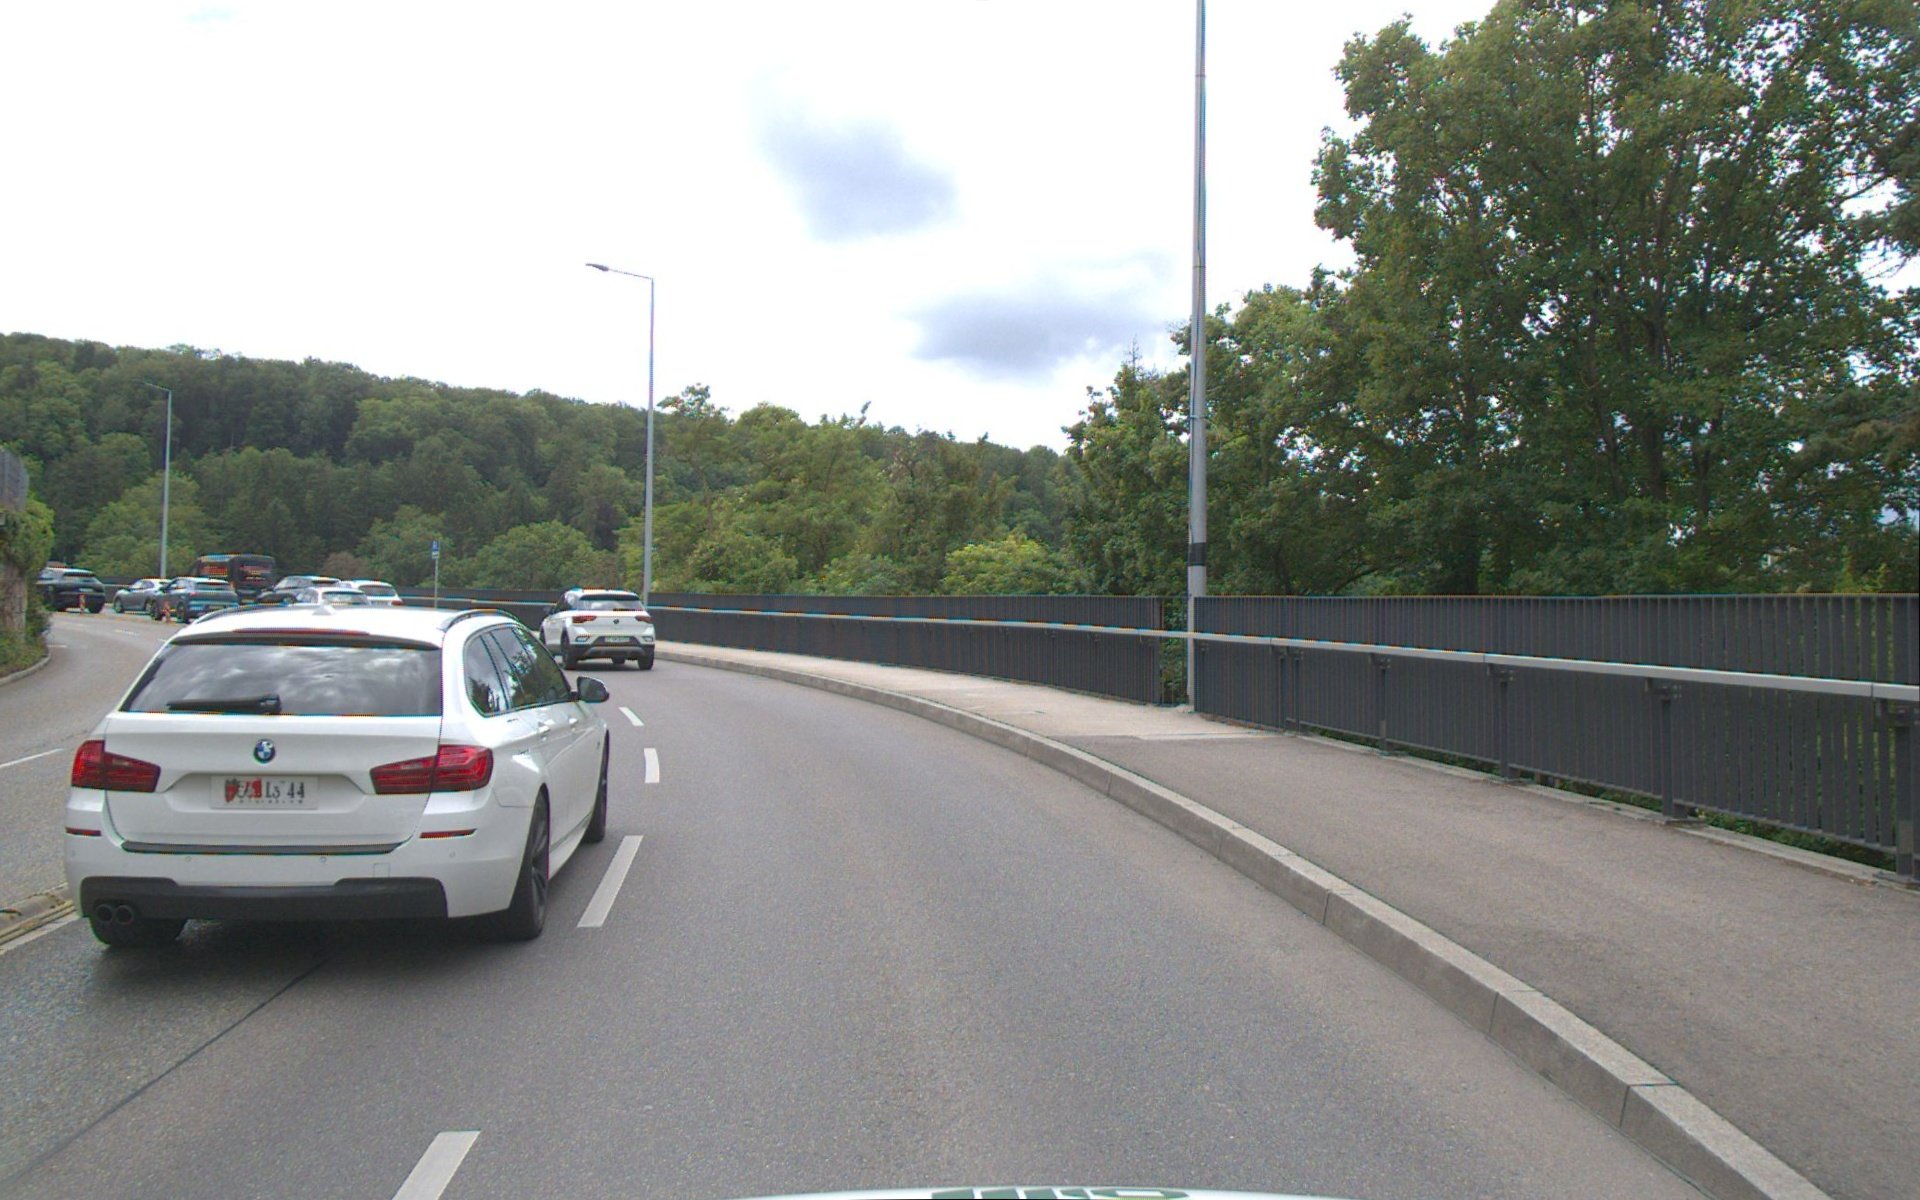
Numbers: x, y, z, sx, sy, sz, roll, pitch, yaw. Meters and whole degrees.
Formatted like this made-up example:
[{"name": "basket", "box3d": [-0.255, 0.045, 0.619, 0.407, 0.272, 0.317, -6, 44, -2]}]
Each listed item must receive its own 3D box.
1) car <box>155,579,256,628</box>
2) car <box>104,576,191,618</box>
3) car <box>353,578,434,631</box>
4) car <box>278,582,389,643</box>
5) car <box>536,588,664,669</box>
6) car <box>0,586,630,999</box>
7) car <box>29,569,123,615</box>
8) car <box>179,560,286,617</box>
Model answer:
[{"name": "car", "box3d": [-25.928, 0.102, 56.777, 1.984, 1.568, 3.947, 1, 0, -43]}, {"name": "car", "box3d": [-32.661, -0.119, 66.458, 3.464, 1.552, 1.694, 2, 0, 35]}, {"name": "car", "box3d": [-18.323, 0.112, 53.652, 1.958, 1.614, 3.988, 2, 0, -12]}, {"name": "car", "box3d": [-17.716, 0.336, 46.668, 1.893, 1.601, 3.947, 1, 0, -37]}, {"name": "car", "box3d": [-7.397, 0.559, 33.780, 1.843, 1.563, 3.774, 0, 0, -24]}, {"name": "car", "box3d": [-2.839, 0.683, 8.507, 1.812, 1.492, 4.872, 0, 0, -7]}, {"name": "car", "box3d": [-34.883, -0.320, 65.246, 3.922, 1.719, 1.814, 2, 0, 37]}, {"name": "car", "box3d": [-30.410, -0.490, 69.132, 4.640, 2.231, 2.073, 2, 0, 37]}]
